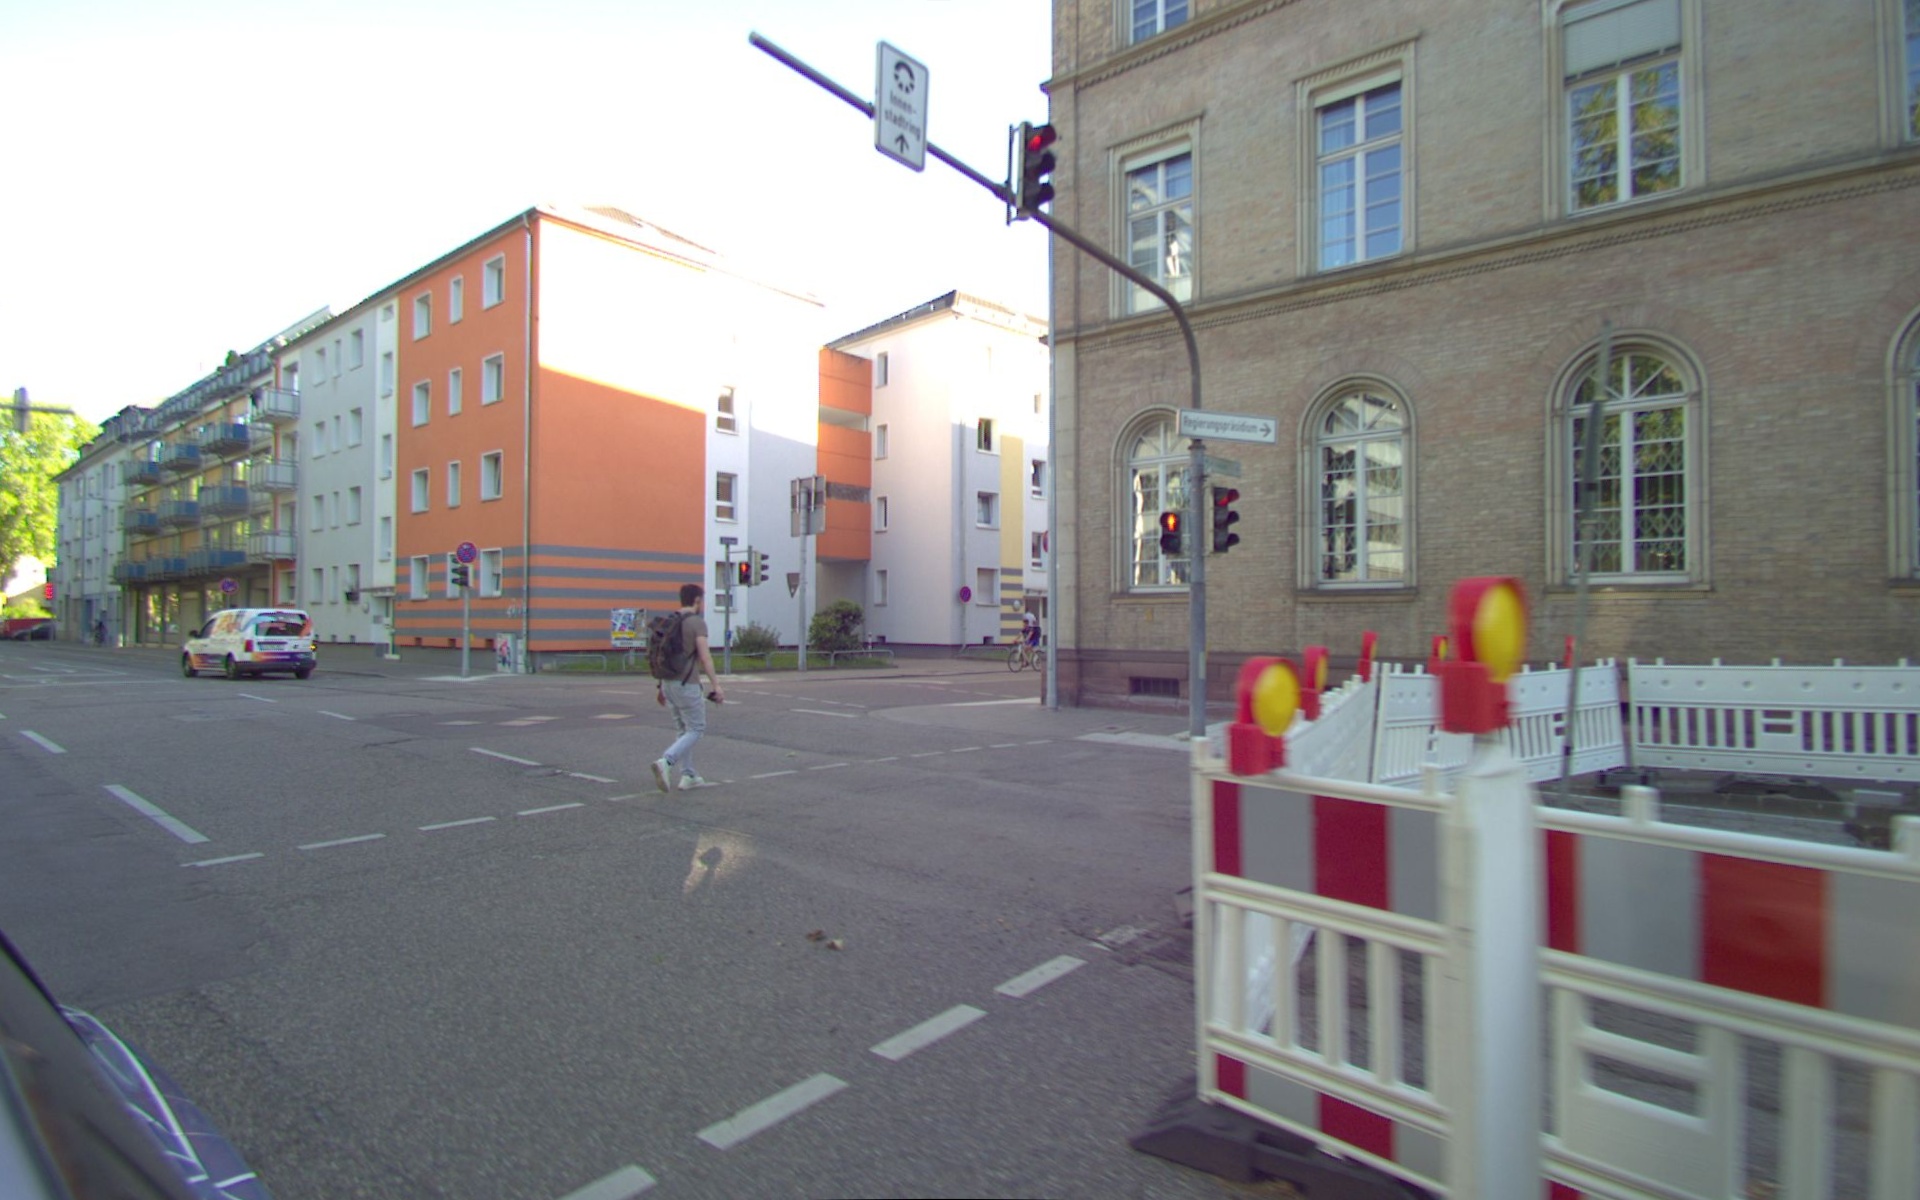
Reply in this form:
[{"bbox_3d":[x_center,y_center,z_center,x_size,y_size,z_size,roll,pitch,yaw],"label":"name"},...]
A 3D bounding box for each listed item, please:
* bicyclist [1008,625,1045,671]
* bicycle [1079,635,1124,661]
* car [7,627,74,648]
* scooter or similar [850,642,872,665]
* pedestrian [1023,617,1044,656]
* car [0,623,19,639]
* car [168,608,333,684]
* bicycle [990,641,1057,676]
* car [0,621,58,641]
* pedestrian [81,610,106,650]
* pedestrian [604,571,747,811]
[{"bbox_3d":[2.029,1.475,30.854,0.825,1.383,0.793,4,-6,-36],"label":"bicyclist"},{"bbox_3d":[5.625,1.884,40.207,1.756,1.000,0.533,-1,-2,38],"label":"bicycle"},{"bbox_3d":[-77.642,3.173,85.482,1.833,1.712,3.944,-2,-3,42],"label":"car"},{"bbox_3d":[-3.585,1.923,36.553,0.741,0.794,0.298,-1,-1,25],"label":"scooter or similar"},{"bbox_3d":[2.794,1.372,38.393,0.589,1.472,0.562,2,-3,-39],"label":"pedestrian"},{"bbox_3d":[-100.752,3.221,105.327,1.833,1.712,3.944,-2,-3,42],"label":"car"},{"bbox_3d":[-18.754,1.229,26.665,5.115,1.831,1.976,-2,-4,36],"label":"car"},{"bbox_3d":[1.938,1.791,30.765,1.960,1.007,0.792,3,-5,-37],"label":"bicycle"},{"bbox_3d":[-81.845,2.710,88.688,1.833,1.712,3.944,-2,-3,42],"label":"car"},{"bbox_3d":[-52.640,1.840,61.477,1.087,2.415,0.902,-2,-3,40],"label":"pedestrian"},{"bbox_3d":[-2.281,0.694,8.118,0.870,1.785,0.749,2,-3,-39],"label":"pedestrian"}]
